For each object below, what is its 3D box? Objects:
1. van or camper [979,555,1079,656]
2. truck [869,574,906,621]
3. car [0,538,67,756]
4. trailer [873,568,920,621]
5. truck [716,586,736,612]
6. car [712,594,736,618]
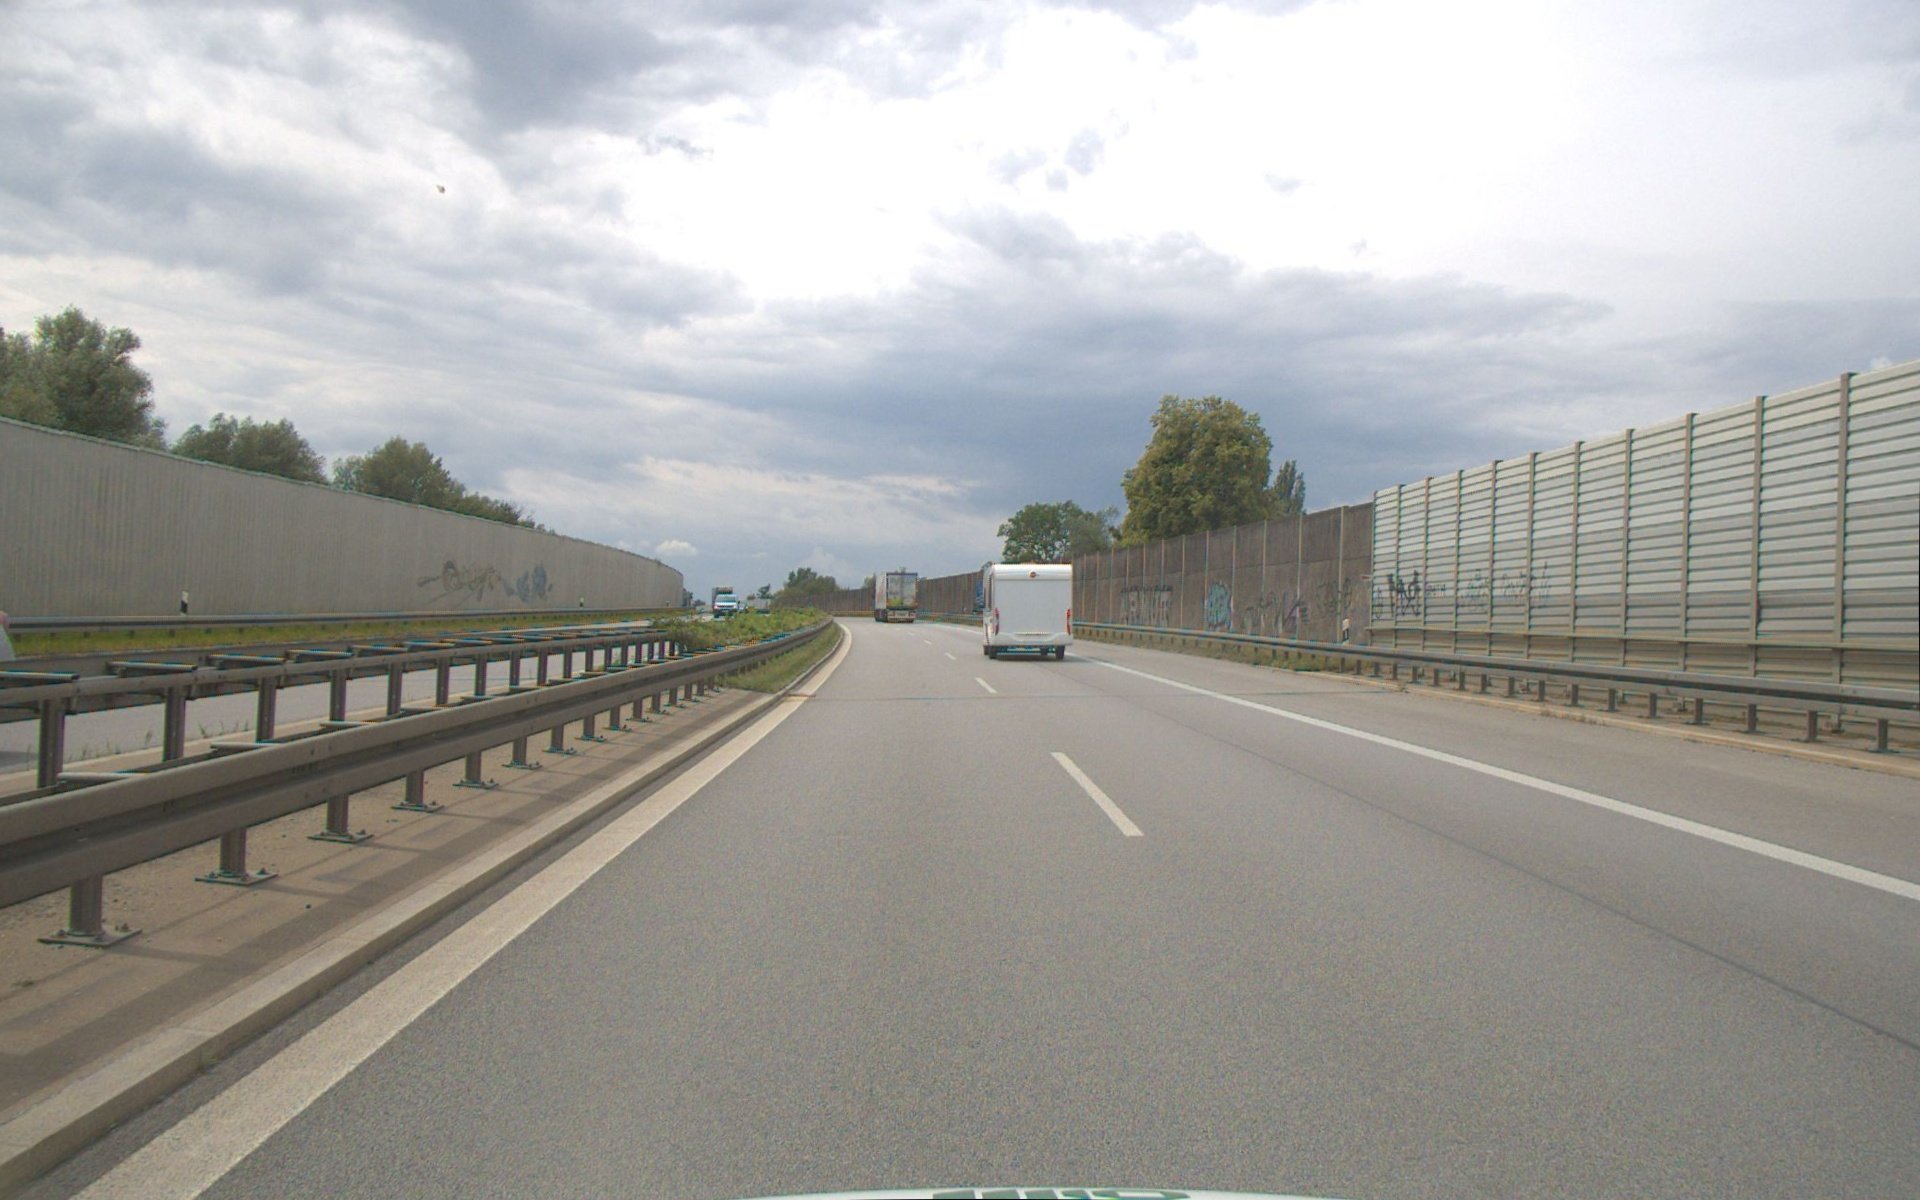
[{"bbox_3d":[1.937,0.180,49.111,2.380,2.744,7.222,1,0,-2],"label":"van or camper"},{"bbox_3d":[-6.492,-0.190,147.339,2.705,4.029,5.665,0,-1,-9],"label":"truck"},{"bbox_3d":[-7.146,0.313,9.504,1.658,1.445,4.645,0,0,-2],"label":"car"},{"bbox_3d":[-5.515,-0.368,140.961,2.740,4.248,14.078,0,-1,-7],"label":"trailer"},{"bbox_3d":[-35.795,-0.173,253.304,2.819,3.926,6.065,-1,0,-7],"label":"truck"},{"bbox_3d":[-17.941,0.460,125.830,1.709,1.775,4.619,0,0,-8],"label":"car"}]
